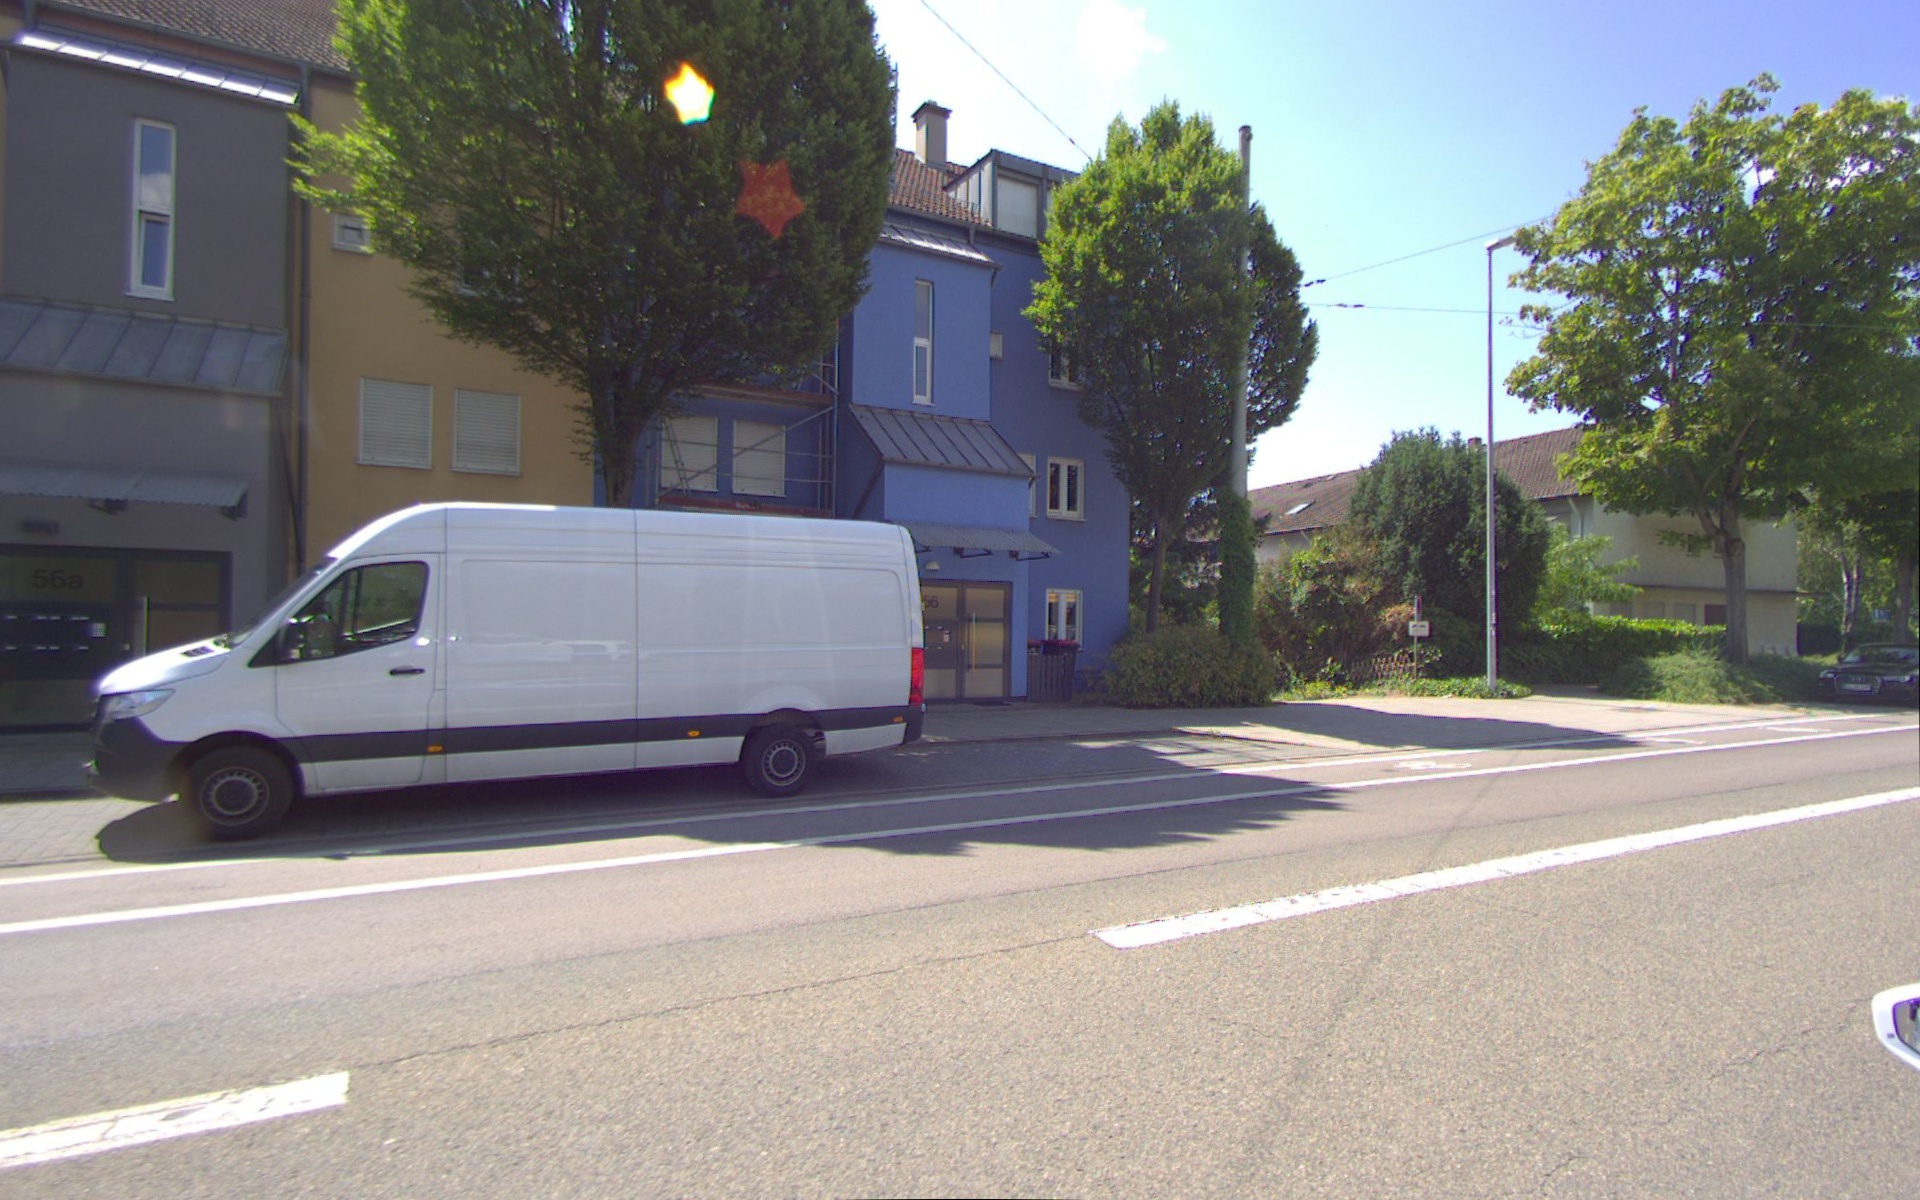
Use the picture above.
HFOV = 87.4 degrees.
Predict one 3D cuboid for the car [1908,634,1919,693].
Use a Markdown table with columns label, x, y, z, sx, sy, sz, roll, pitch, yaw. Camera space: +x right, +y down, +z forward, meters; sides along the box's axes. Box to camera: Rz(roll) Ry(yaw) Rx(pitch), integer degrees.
| label | x | y | z | sx | sy | sz | roll | pitch | yaw |
| --- | --- | --- | --- | --- | --- | --- | --- | --- | --- |
| car | 28.581 | 1.809 | 28.144 | 4.584 | 1.625 | 1.766 | 2 | 0 | -31 |

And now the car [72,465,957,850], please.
| label | x | y | z | sx | sy | sz | roll | pitch | yaw |
| --- | --- | --- | --- | --- | --- | --- | --- | --- | --- |
| car | -3.661 | 0.421 | 9.683 | 6.948 | 2.687 | 2.313 | 1 | 3 | -29 |

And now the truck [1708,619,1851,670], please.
| label | x | y | z | sx | sy | sz | roll | pitch | yaw |
| --- | --- | --- | --- | --- | --- | --- | --- | --- | --- |
| truck | 55.165 | 2.928 | 67.809 | 2.306 | 3.270 | 7.152 | 2 | -2 | -30 |

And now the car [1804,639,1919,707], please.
| label | x | y | z | sx | sy | sz | roll | pitch | yaw |
| --- | --- | --- | --- | --- | --- | --- | --- | --- | --- |
| car | 22.686 | 1.731 | 24.514 | 4.749 | 1.475 | 1.766 | 2 | -1 | -31 |
